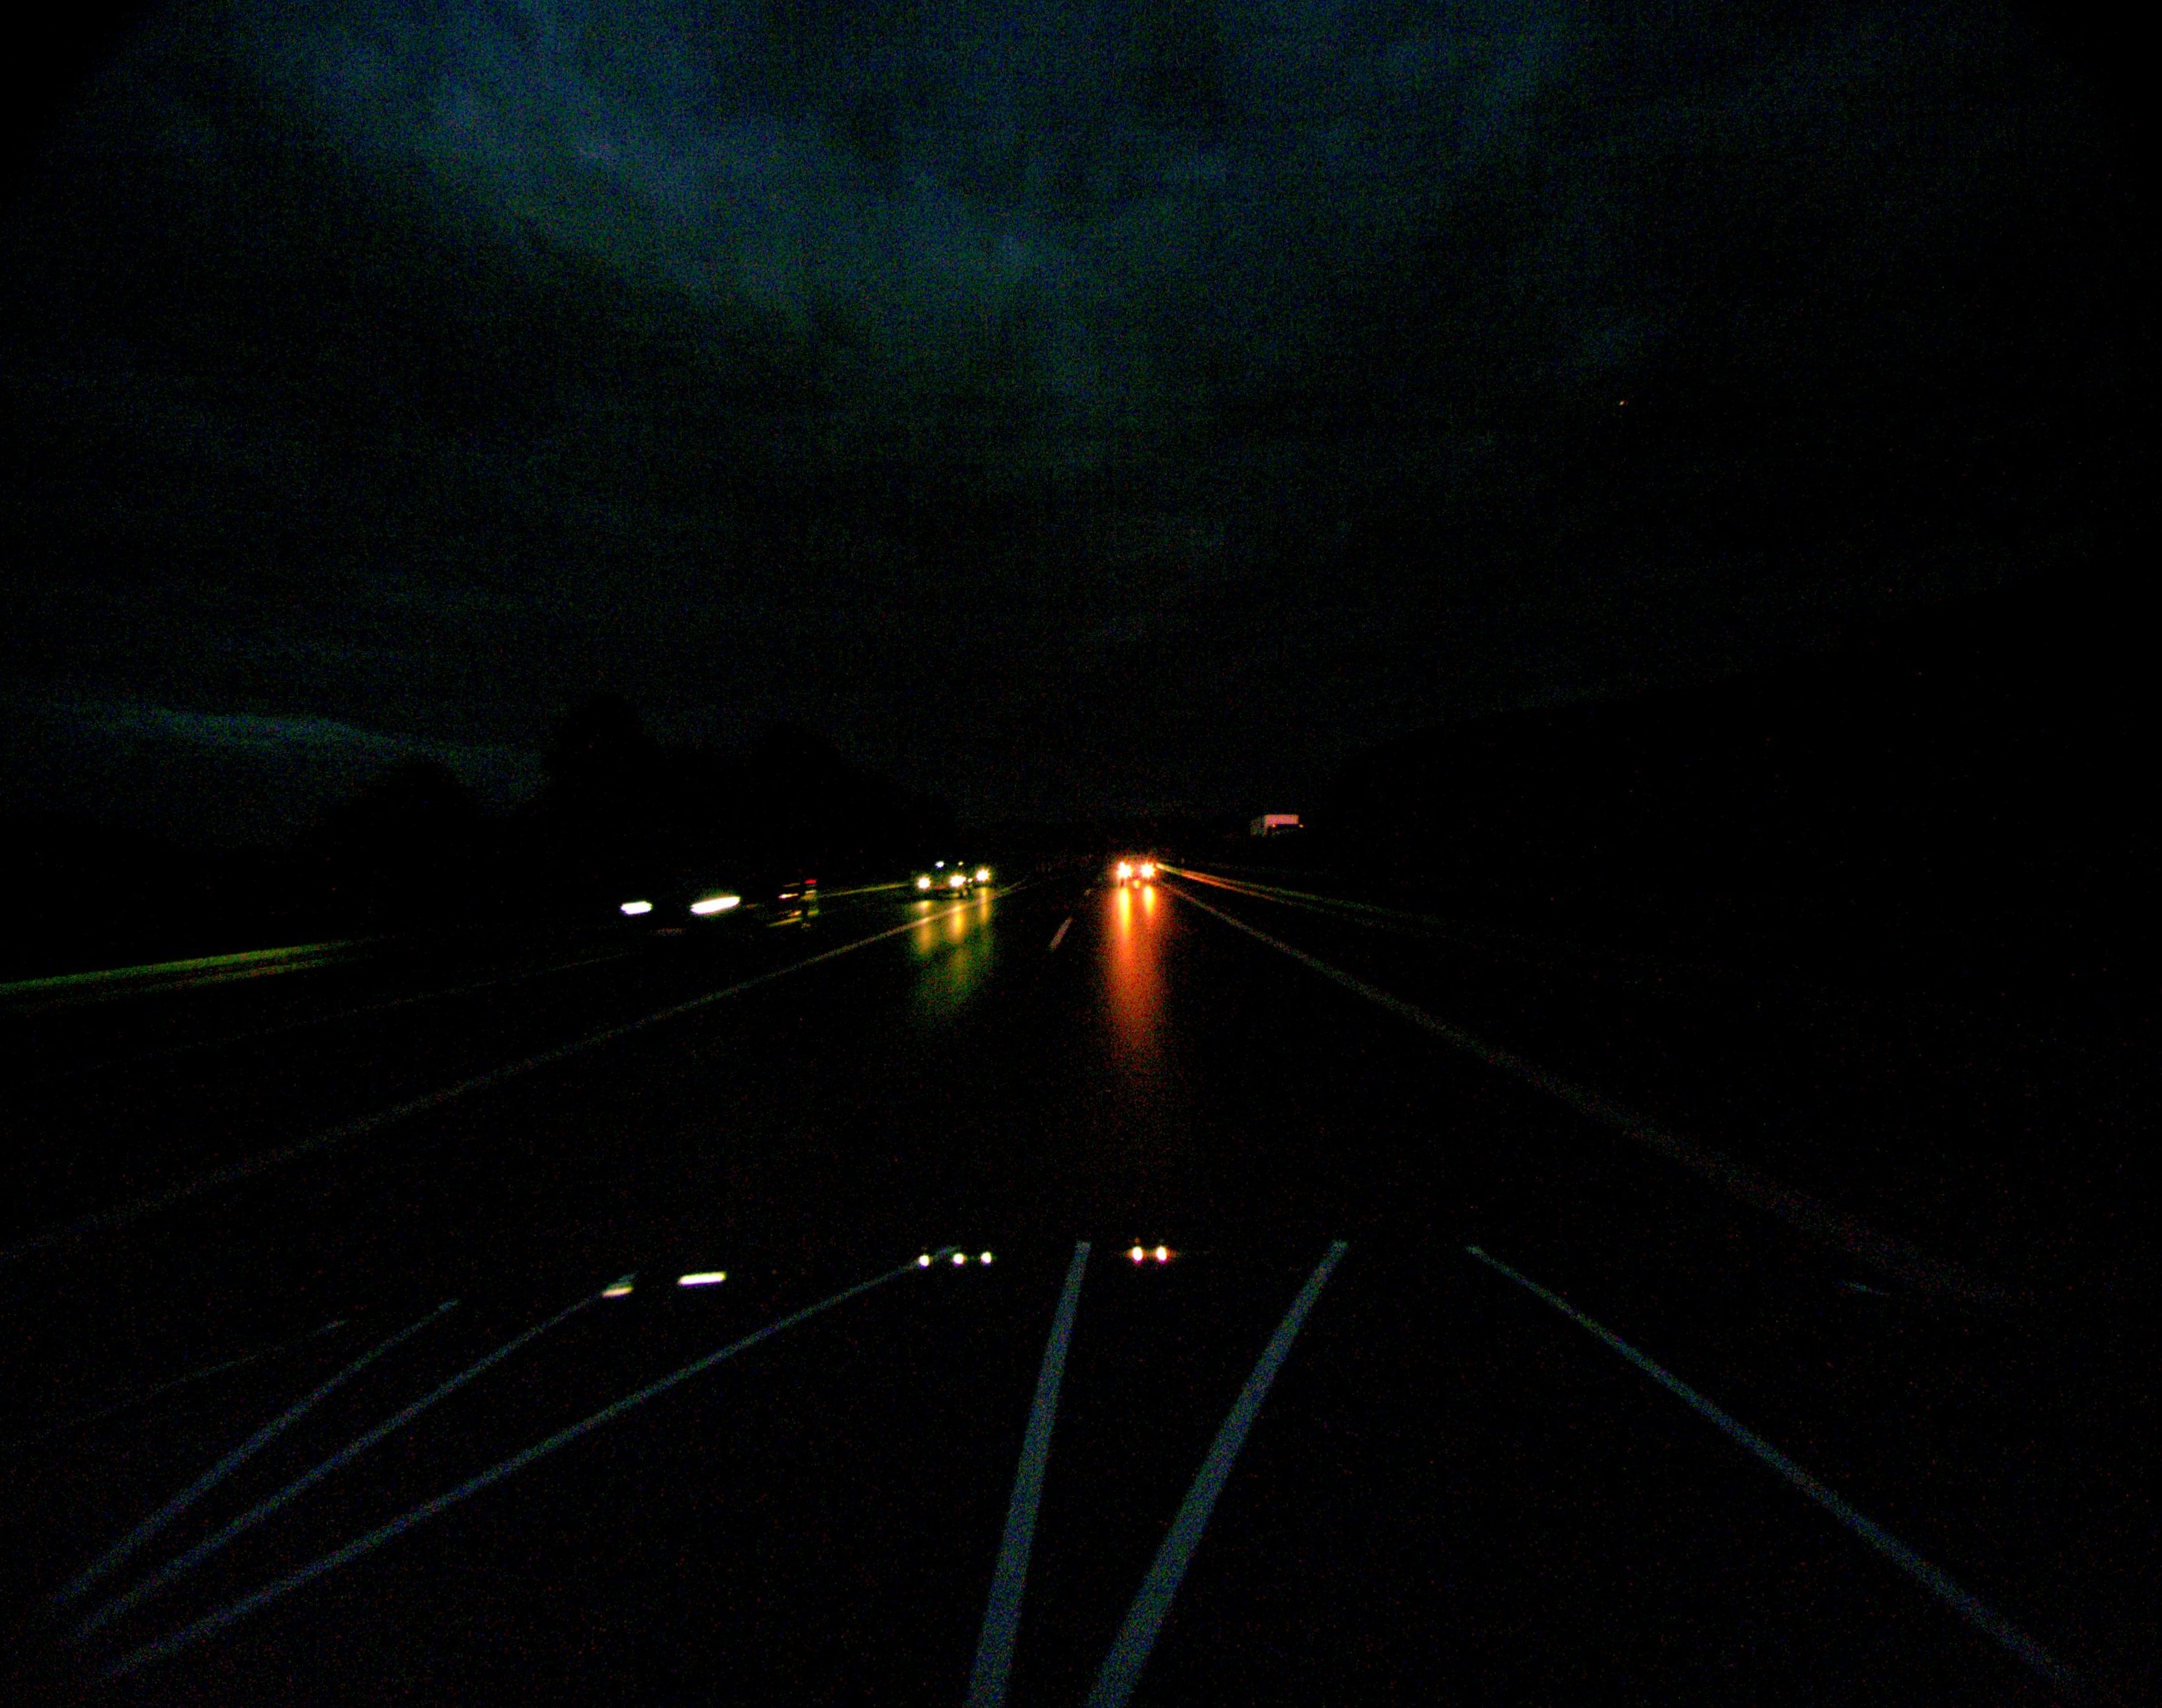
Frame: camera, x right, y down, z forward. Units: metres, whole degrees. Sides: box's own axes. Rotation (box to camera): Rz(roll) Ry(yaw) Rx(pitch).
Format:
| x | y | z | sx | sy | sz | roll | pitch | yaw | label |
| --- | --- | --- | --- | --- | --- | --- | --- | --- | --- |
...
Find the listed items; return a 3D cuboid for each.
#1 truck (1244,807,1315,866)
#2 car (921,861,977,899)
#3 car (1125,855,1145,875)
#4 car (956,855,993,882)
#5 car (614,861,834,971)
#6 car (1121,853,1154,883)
| x | y | z | sx | sy | sz | roll | pitch | yaw | label |
| --- | --- | --- | --- | --- | --- | --- | --- | --- | --- |
| 15.982 | -1.382 | 61.999 | 3.046 | 4.276 | 9.889 | -3 | 1 | 0 | truck |
| -5.834 | 1.091 | 34.086 | 1.803 | 1.483 | 5.116 | -1 | 0 | -2 | car |
| 5.727 | 1.152 | 81.178 | 1.998 | 2.002 | 4.001 | -3 | 1 | 4 | car |
| -6.682 | 0.862 | 48.083 | 1.803 | 1.483 | 4.434 | -5 | 0 | -2 | car |
| -6.512 | 1.008 | 14.650 | 1.802 | 1.636 | 5.159 | -2 | 0 | -1 | car |
| 3.179 | 0.774 | 42.988 | 1.669 | 1.551 | 3.757 | -3 | 0 | 2 | car |
